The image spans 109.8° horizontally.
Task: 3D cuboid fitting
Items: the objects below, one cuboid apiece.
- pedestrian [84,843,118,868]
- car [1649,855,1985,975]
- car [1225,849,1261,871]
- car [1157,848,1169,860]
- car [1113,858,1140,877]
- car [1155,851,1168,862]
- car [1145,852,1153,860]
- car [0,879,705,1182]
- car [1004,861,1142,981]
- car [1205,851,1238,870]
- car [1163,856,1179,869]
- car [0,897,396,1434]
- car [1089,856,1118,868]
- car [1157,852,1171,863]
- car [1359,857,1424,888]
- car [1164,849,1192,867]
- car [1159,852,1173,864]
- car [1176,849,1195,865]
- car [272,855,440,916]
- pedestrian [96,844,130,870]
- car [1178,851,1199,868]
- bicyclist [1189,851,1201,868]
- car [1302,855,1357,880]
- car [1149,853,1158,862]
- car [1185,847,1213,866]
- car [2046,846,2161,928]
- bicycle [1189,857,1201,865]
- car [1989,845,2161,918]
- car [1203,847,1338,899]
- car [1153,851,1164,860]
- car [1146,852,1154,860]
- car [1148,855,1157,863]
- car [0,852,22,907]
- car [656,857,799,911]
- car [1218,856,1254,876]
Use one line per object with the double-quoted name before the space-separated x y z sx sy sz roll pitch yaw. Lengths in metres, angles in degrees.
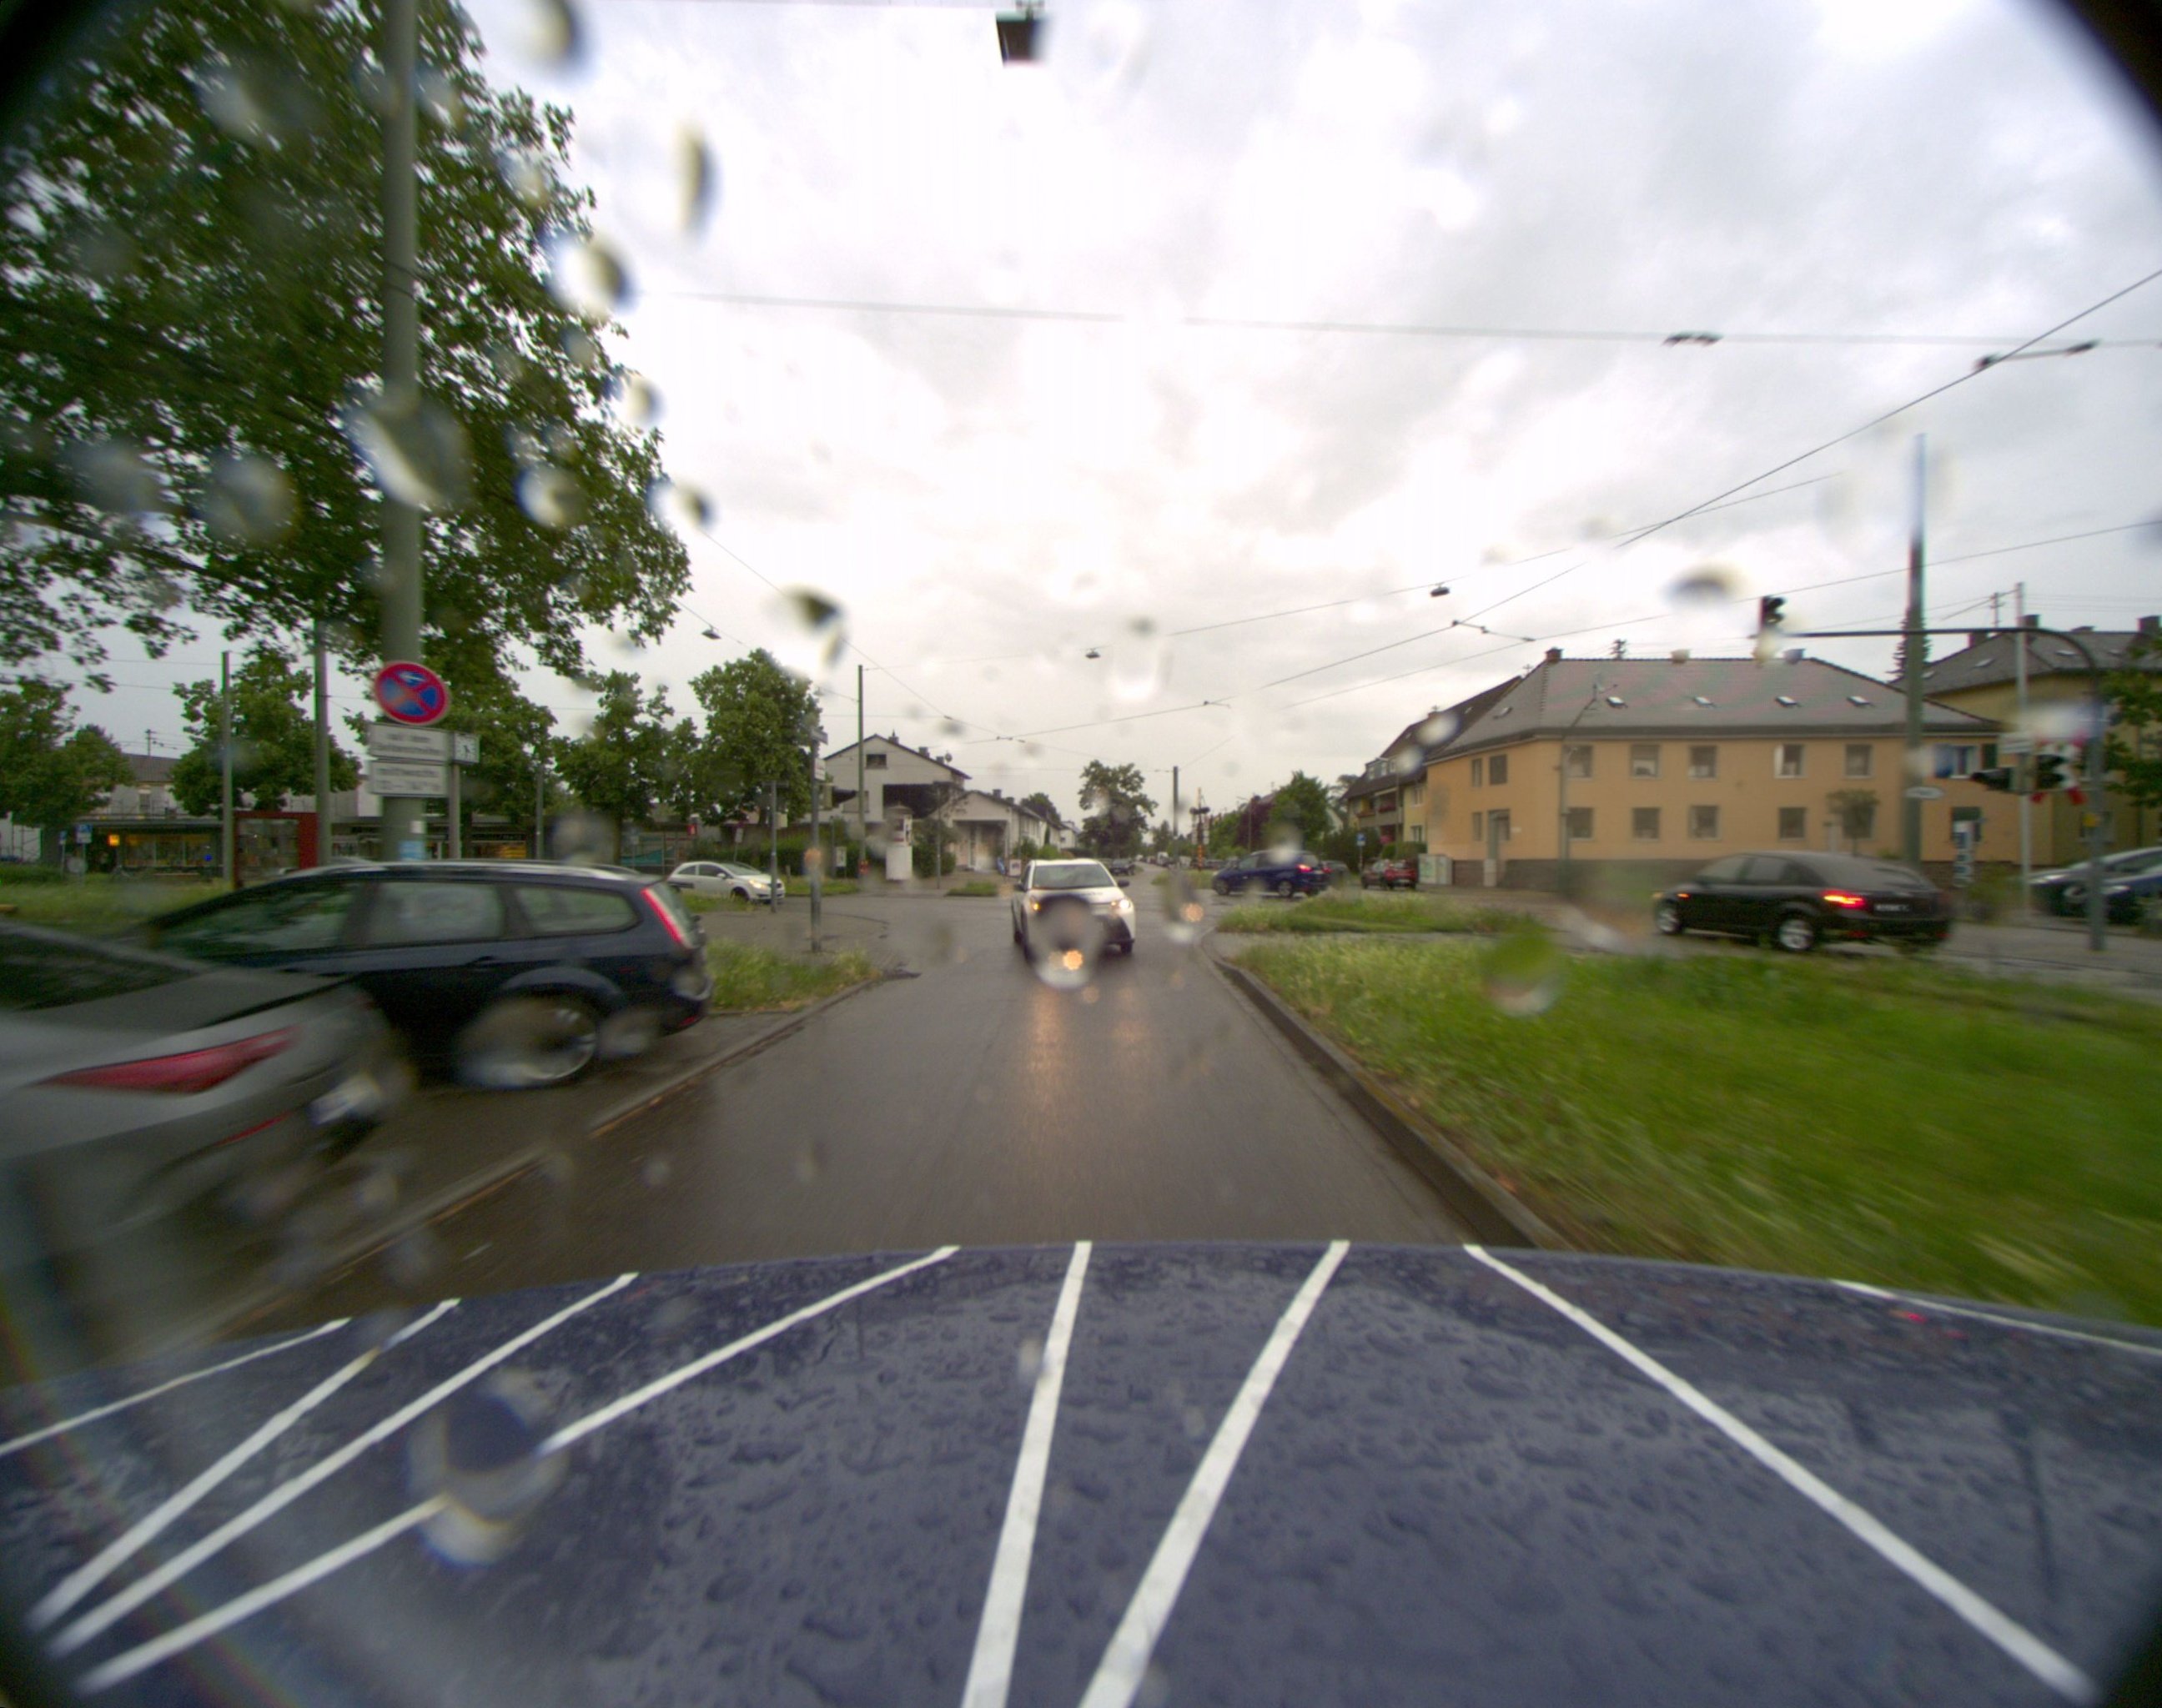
"pedestrian" -64.840 0.099 50.258 0.946 1.575 1.081 1 1 15
"car" 11.571 0.839 12.418 1.740 1.478 3.999 0 2 4
"car" 14.256 0.489 67.173 1.999 1.784 3.996 0 2 -5
"car" 15.513 -0.047 143.501 1.998 2.023 3.999 0 2 3
"car" 4.191 1.221 69.210 1.786 1.454 4.002 0 2 12
"car" 14.502 0.504 136.480 1.998 1.784 3.998 0 2 1
"car" 18.740 0.541 209.196 1.998 1.784 3.998 0 2 1
"car" -4.965 0.965 5.269 4.183 1.467 1.800 0 0 -28
"car" -0.285 0.982 12.918 1.721 1.614 3.711 -2 1 -10
"car" 13.283 0.615 72.104 1.999 1.565 4.123 0 2 -5
"car" 13.387 1.245 113.414 1.998 1.784 3.998 0 2 1
"car" -5.256 0.961 2.175 4.556 1.467 1.800 0 0 -26
"car" 3.102 1.115 106.673 3.997 1.673 1.999 0 2 1
"car" 14.277 0.582 130.503 1.945 1.685 3.998 0 2 1
"car" 15.376 0.871 37.769 1.721 1.331 3.615 0 2 0
"car" 8.445 0.353 66.539 1.998 1.467 4.000 0 0 1
"car" 14.058 0.712 125.768 1.998 1.784 3.998 0 2 1
"car" 13.354 0.360 97.395 1.998 1.784 3.998 0 2 1
"car" -25.602 1.067 26.938 3.996 2.003 2.000 0 2 3
"pedestrian" -63.542 0.178 49.865 0.946 1.704 1.081 1 1 15
"car" 12.698 0.649 89.755 1.998 1.784 3.998 0 2 1
"bicyclist" 10.991 0.524 73.362 0.949 1.588 1.042 0 0 1
"car" 15.262 0.797 46.923 1.966 1.388 4.505 0 0 0
"car" 17.651 0.843 184.745 1.998 1.784 3.998 0 2 1
"car" 12.235 0.271 78.863 1.999 1.784 3.997 0 2 -4
"car" 22.044 0.630 14.668 3.861 1.569 1.811 0 0 35
"bicycle" 10.987 0.664 73.338 0.942 0.782 1.820 0 -1 1
"car" 23.670 0.600 17.071 3.861 1.569 1.811 0 0 35
"car" 6.879 0.622 28.007 2.004 1.596 4.559 -2 3 -39
"car" 16.954 0.412 165.754 1.998 1.784 3.998 0 2 1
"car" 18.396 0.542 202.654 1.998 1.784 3.998 0 2 1
"car" 17.898 1.152 189.607 1.998 1.784 3.998 0 2 1
"car" -41.495 0.969 27.379 3.996 2.003 2.000 0 3 4
"car" -11.819 0.960 25.505 3.992 1.544 1.966 2 1 15
"car" 11.745 0.854 57.720 1.998 1.467 4.000 0 0 1
